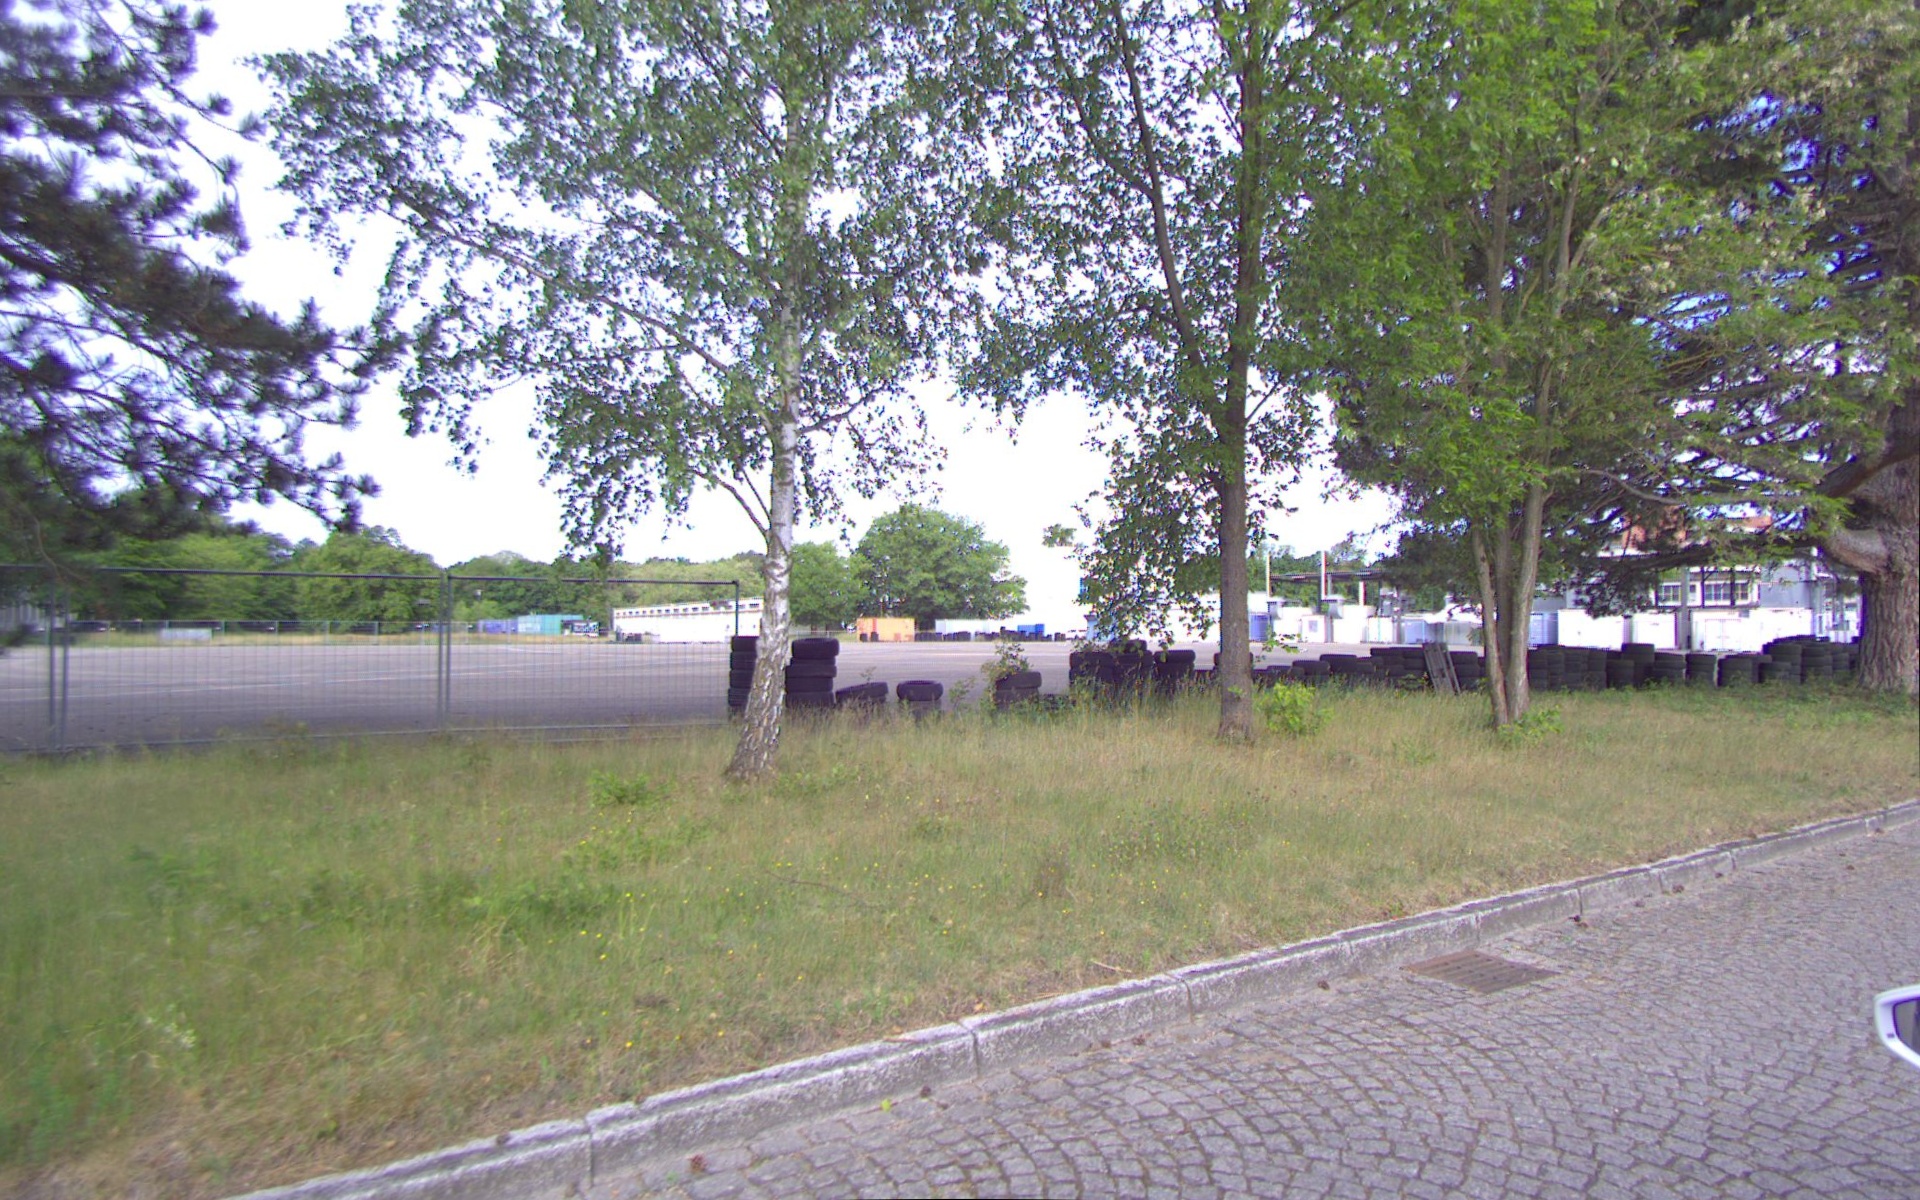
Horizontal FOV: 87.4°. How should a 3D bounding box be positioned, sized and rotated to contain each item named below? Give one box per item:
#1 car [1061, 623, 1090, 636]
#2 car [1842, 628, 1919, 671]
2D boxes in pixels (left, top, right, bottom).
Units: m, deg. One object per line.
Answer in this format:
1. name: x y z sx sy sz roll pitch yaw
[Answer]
1. car: 14.961 3.764 130.237 1.809 1.655 4.086 1 -1 -30
2. car: 33.943 1.742 36.358 4.010 1.452 1.620 0 -1 -26
